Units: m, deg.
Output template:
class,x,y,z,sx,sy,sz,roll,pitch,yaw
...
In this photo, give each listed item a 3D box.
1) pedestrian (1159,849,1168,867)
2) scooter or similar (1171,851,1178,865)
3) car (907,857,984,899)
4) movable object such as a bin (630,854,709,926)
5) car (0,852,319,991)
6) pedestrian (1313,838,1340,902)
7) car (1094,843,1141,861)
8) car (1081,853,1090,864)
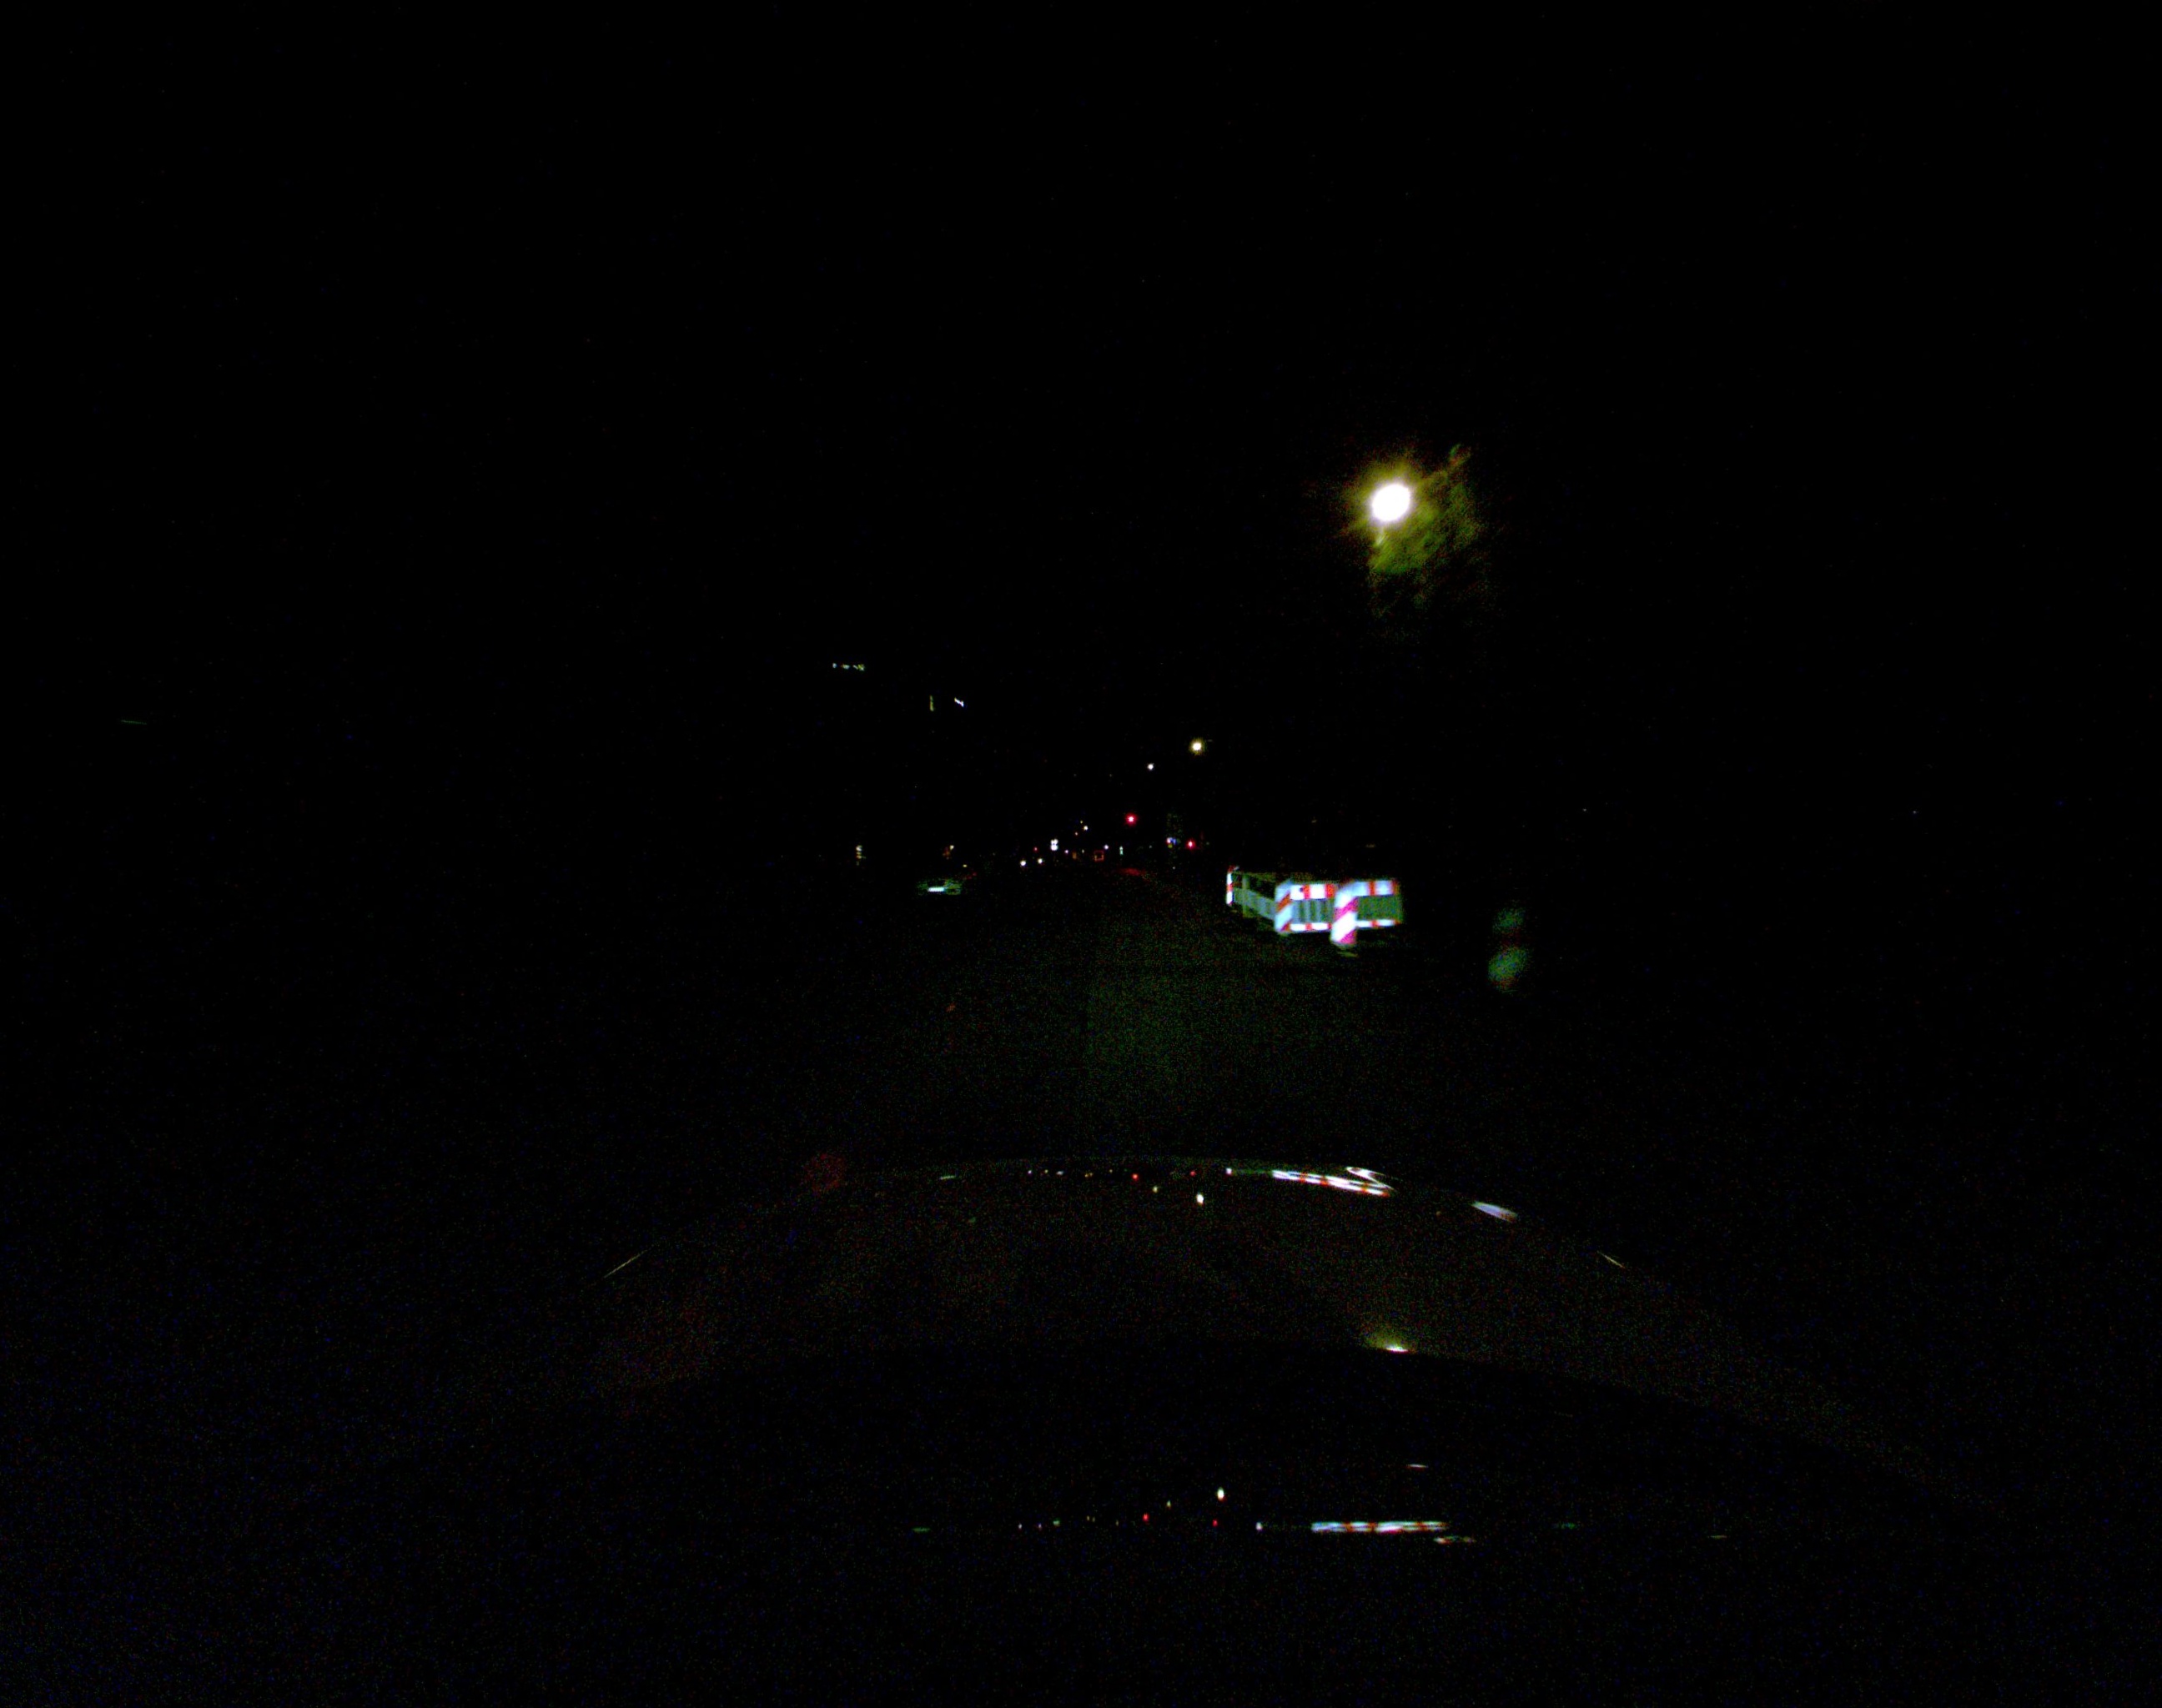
class,x,y,z,sx,sy,sz,roll,pitch,yaw
pedestrian,9.052,0.422,89.499,0.738,1.981,0.622,-1,0,-14
scooter or similar,8.595,0.369,75.004,0.492,1.262,1.321,-3,0,4
car,-4.947,0.838,30.293,1.903,1.404,4.341,-1,0,3
movable object such as a bin,-8.929,0.751,17.714,1.161,1.496,1.065,-1,0,-1
car,-12.587,0.814,10.413,3.972,1.571,1.818,-2,0,1
pedestrian,7.225,0.468,23.978,0.568,1.852,0.821,-1,0,3
car,10.045,-0.644,225.250,12.392,4.709,4.790,-1,0,-12
car,1.137,1.129,212.510,1.989,2.974,3.996,-1,0,-3
